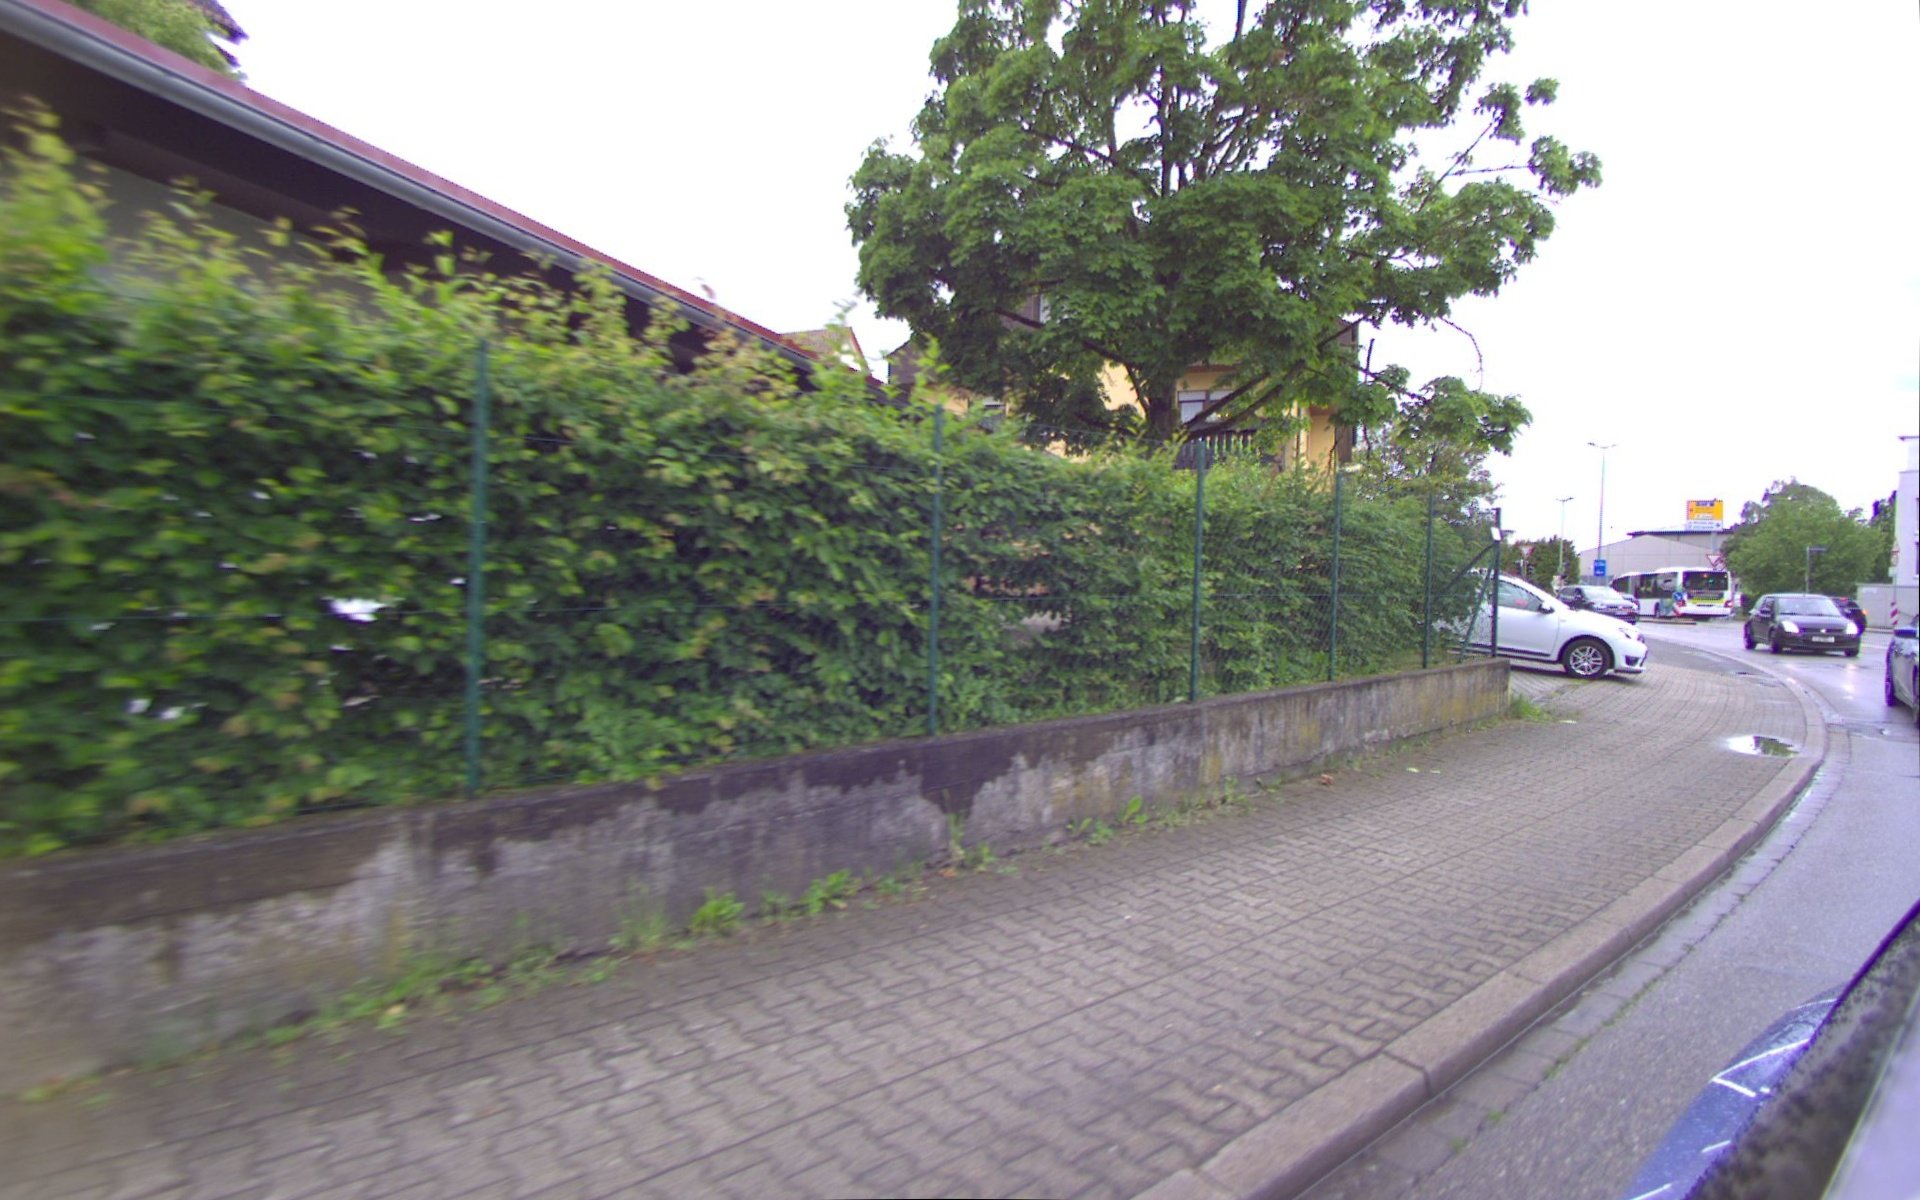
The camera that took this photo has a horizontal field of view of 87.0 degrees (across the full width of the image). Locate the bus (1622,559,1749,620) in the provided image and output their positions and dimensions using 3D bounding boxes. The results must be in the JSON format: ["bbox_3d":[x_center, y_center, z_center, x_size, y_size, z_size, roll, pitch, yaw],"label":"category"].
[{"bbox_3d":[42.078,-0.735,59.187,2.751,3.172,10.799,2,2,18],"label":"bus"}]

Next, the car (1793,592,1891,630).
[{"bbox_3d":[37.086,0.419,42.690,1.863,1.352,3.971,2,2,22],"label":"car"}]

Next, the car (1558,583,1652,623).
[{"bbox_3d":[27.292,0.081,42.999,1.811,1.569,3.992,1,1,8],"label":"car"}]

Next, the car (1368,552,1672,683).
[{"bbox_3d":[8.891,0.185,16.358,3.968,1.577,1.862,7,4,29],"label":"car"}]

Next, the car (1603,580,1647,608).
[{"bbox_3d":[46.497,-0.448,70.799,1.520,1.838,3.583,2,2,16],"label":"car"}]

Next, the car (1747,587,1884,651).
[{"bbox_3d":[21.742,0.417,25.890,1.825,1.467,3.962,1,1,28],"label":"car"}]

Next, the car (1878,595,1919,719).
[{"bbox_3d":[12.637,0.693,12.121,1.903,1.451,4.246,1,1,35],"label":"car"}]
